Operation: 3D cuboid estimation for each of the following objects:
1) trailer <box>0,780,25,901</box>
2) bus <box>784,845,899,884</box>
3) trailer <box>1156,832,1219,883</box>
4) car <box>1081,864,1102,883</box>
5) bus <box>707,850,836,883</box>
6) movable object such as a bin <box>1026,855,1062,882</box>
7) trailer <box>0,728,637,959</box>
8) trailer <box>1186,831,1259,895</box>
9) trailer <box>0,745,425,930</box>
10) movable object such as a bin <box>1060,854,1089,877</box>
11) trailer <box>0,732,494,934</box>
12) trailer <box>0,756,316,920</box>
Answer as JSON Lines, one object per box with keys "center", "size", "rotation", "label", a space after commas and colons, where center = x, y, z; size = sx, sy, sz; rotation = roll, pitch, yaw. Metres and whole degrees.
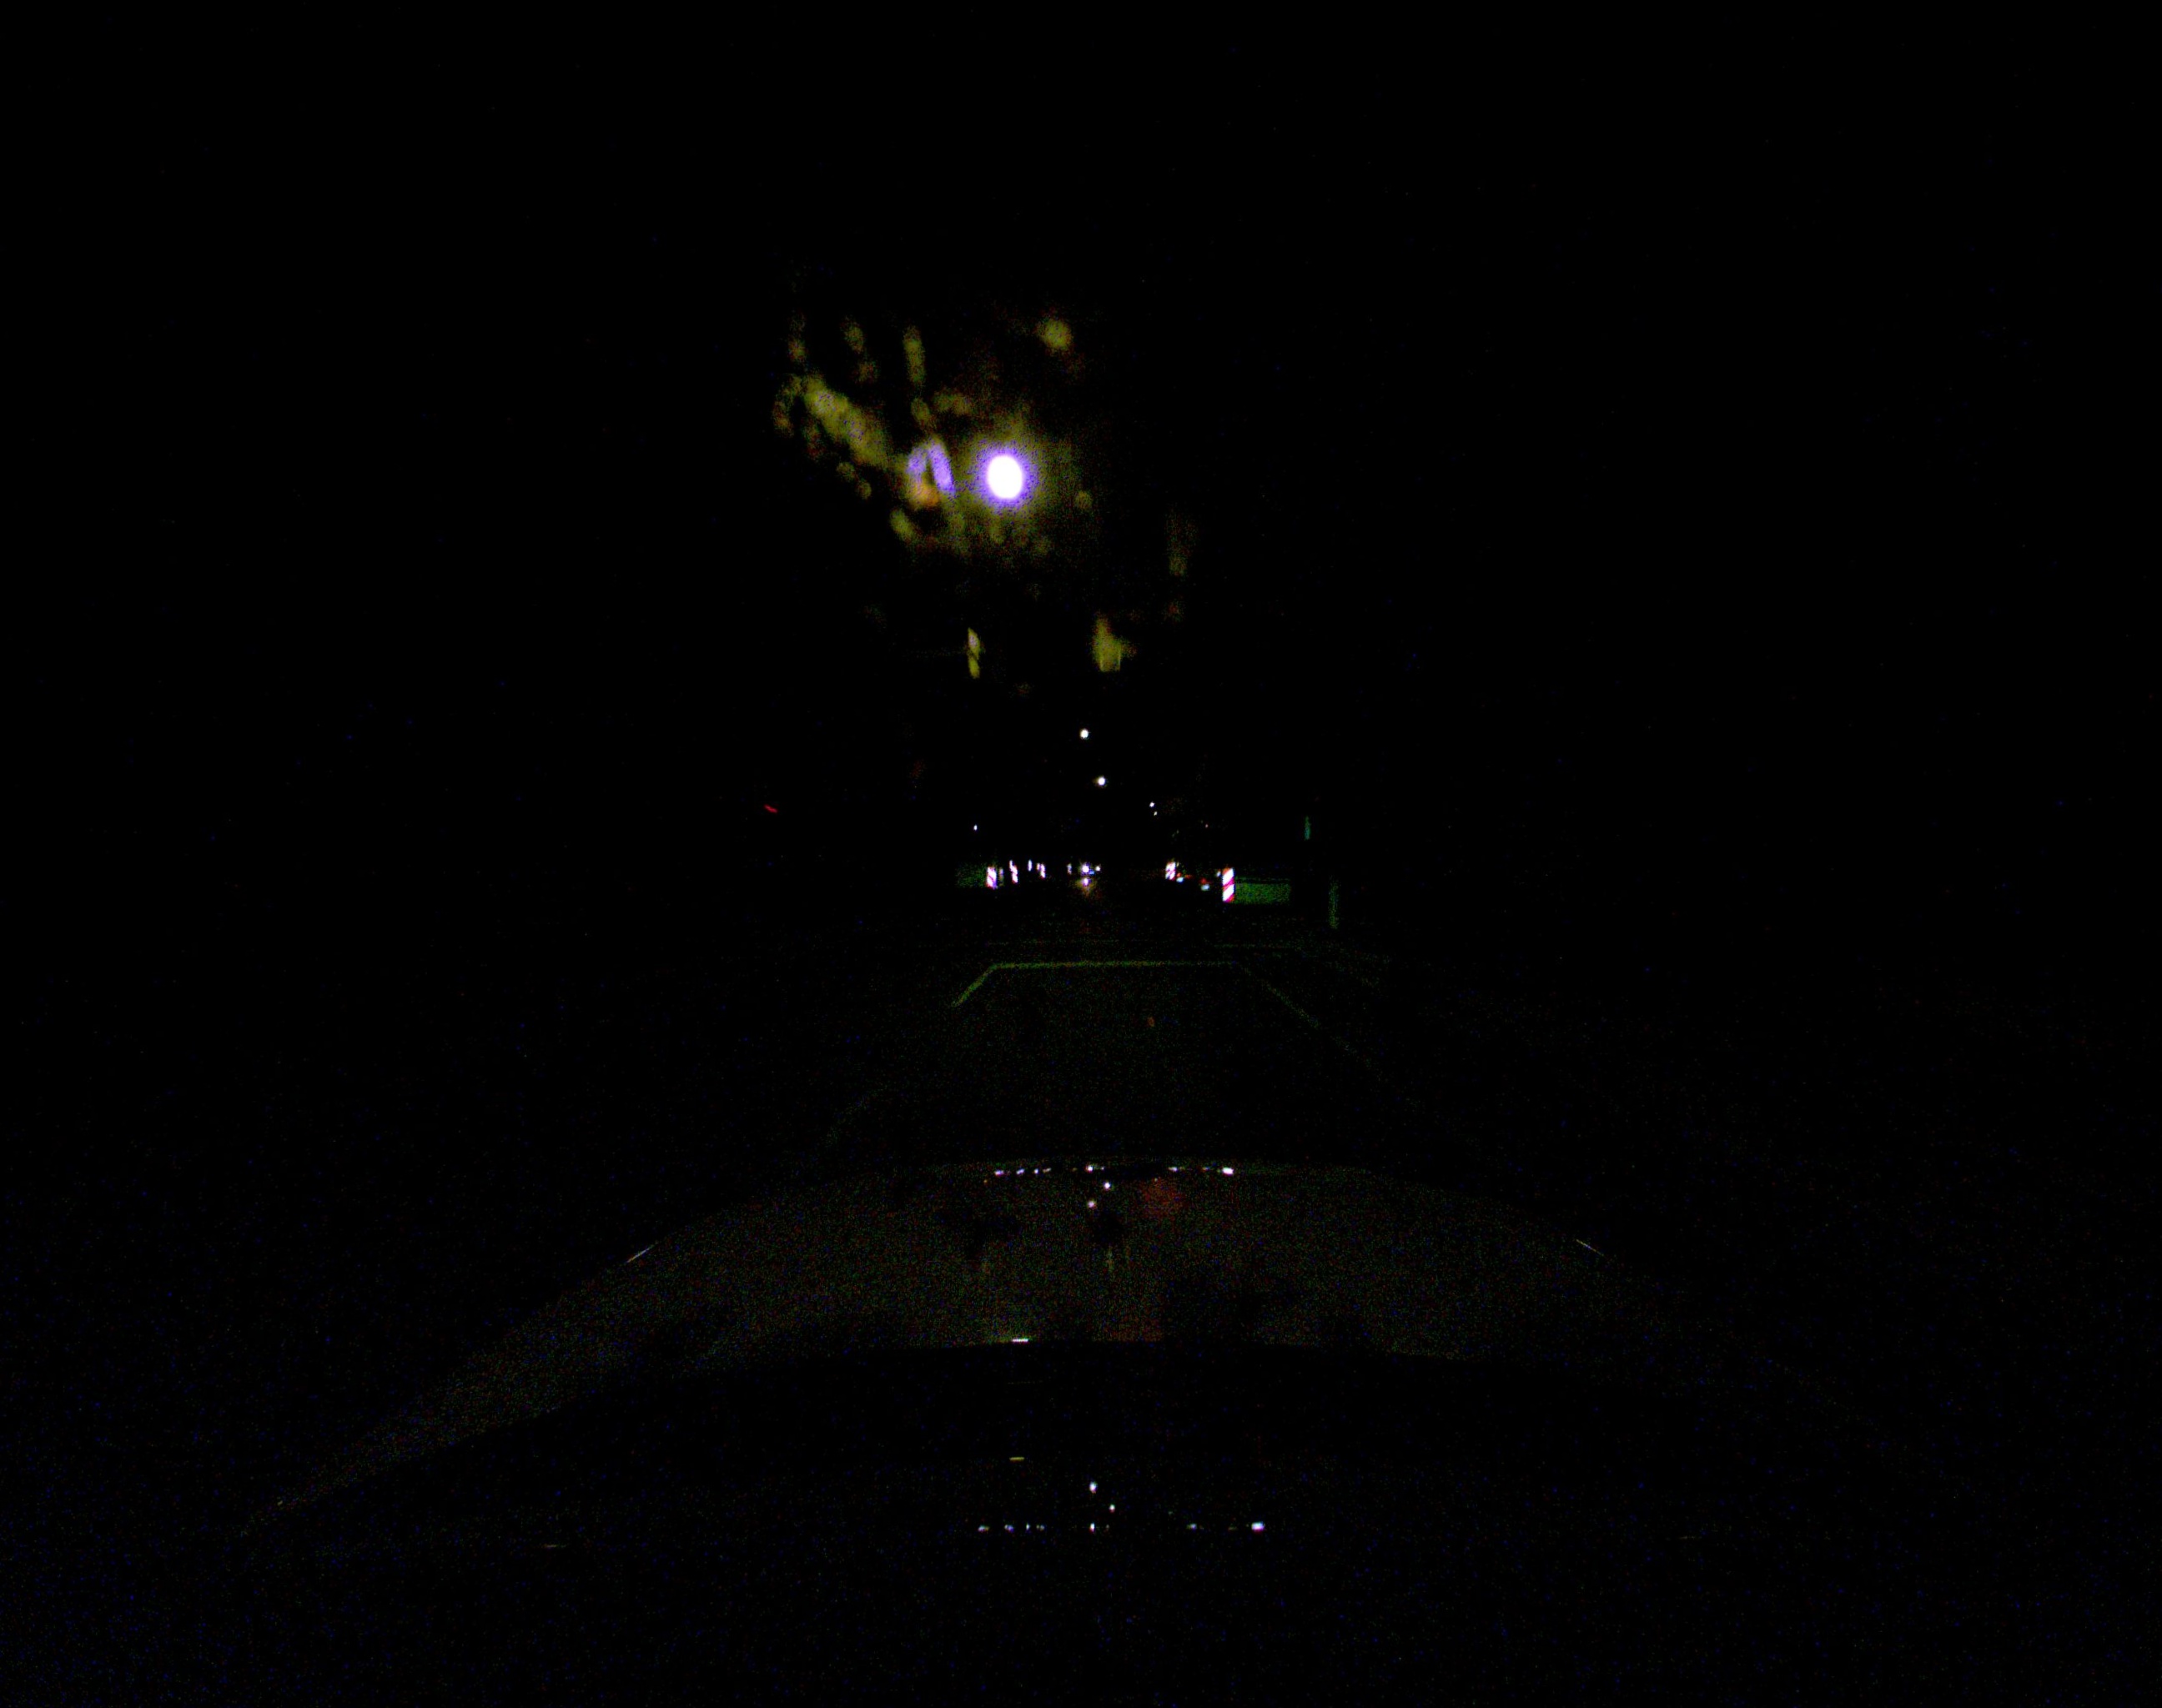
{"center": [-42.673, -0.604, 23.159], "size": [3.032, 4.357, 15.077], "rotation": [0, -1, 20], "label": "trailer"}
{"center": [-21.337, 0.928, 74.005], "size": [2.987, 3.204, 12.736], "rotation": [-1, 0, 20], "label": "bus"}
{"center": [6.969, 0.300, 54.076], "size": [3.471, 3.219, 4.862], "rotation": [1, -2, -1], "label": "trailer"}
{"center": [0.974, 1.688, 72.004], "size": [1.690, 1.576, 2.959], "rotation": [-3, -1, 2], "label": "car"}
{"center": [-29.395, 1.103, 78.225], "size": [2.915, 2.983, 12.352], "rotation": [-1, -1, 32], "label": "bus"}
{"center": [-3.436, 1.349, 76.875], "size": [1.979, 2.376, 4.720], "rotation": [-2, 0, 15], "label": "movable object such as a bin"}
{"center": [-18.099, -0.108, 19.501], "size": [3.034, 3.933, 15.071], "rotation": [0, -1, 18], "label": "trailer"}
{"center": [6.659, 0.476, 38.939], "size": [2.606, 2.846, 4.707], "rotation": [1, -2, -1], "label": "trailer"}
{"center": [-26.393, -0.375, 20.907], "size": [3.031, 4.358, 15.084], "rotation": [0, -1, 23], "label": "trailer"}
{"center": [-0.657, 1.227, 89.069], "size": [1.979, 2.376, 4.720], "rotation": [-2, -1, 15], "label": "movable object such as a bin"}
{"center": [-22.828, -0.415, 19.055], "size": [3.030, 4.149, 15.087], "rotation": [0, -1, 25], "label": "trailer"}
{"center": [-30.425, -0.456, 21.336], "size": [3.031, 4.358, 15.084], "rotation": [0, -1, 23], "label": "trailer"}
